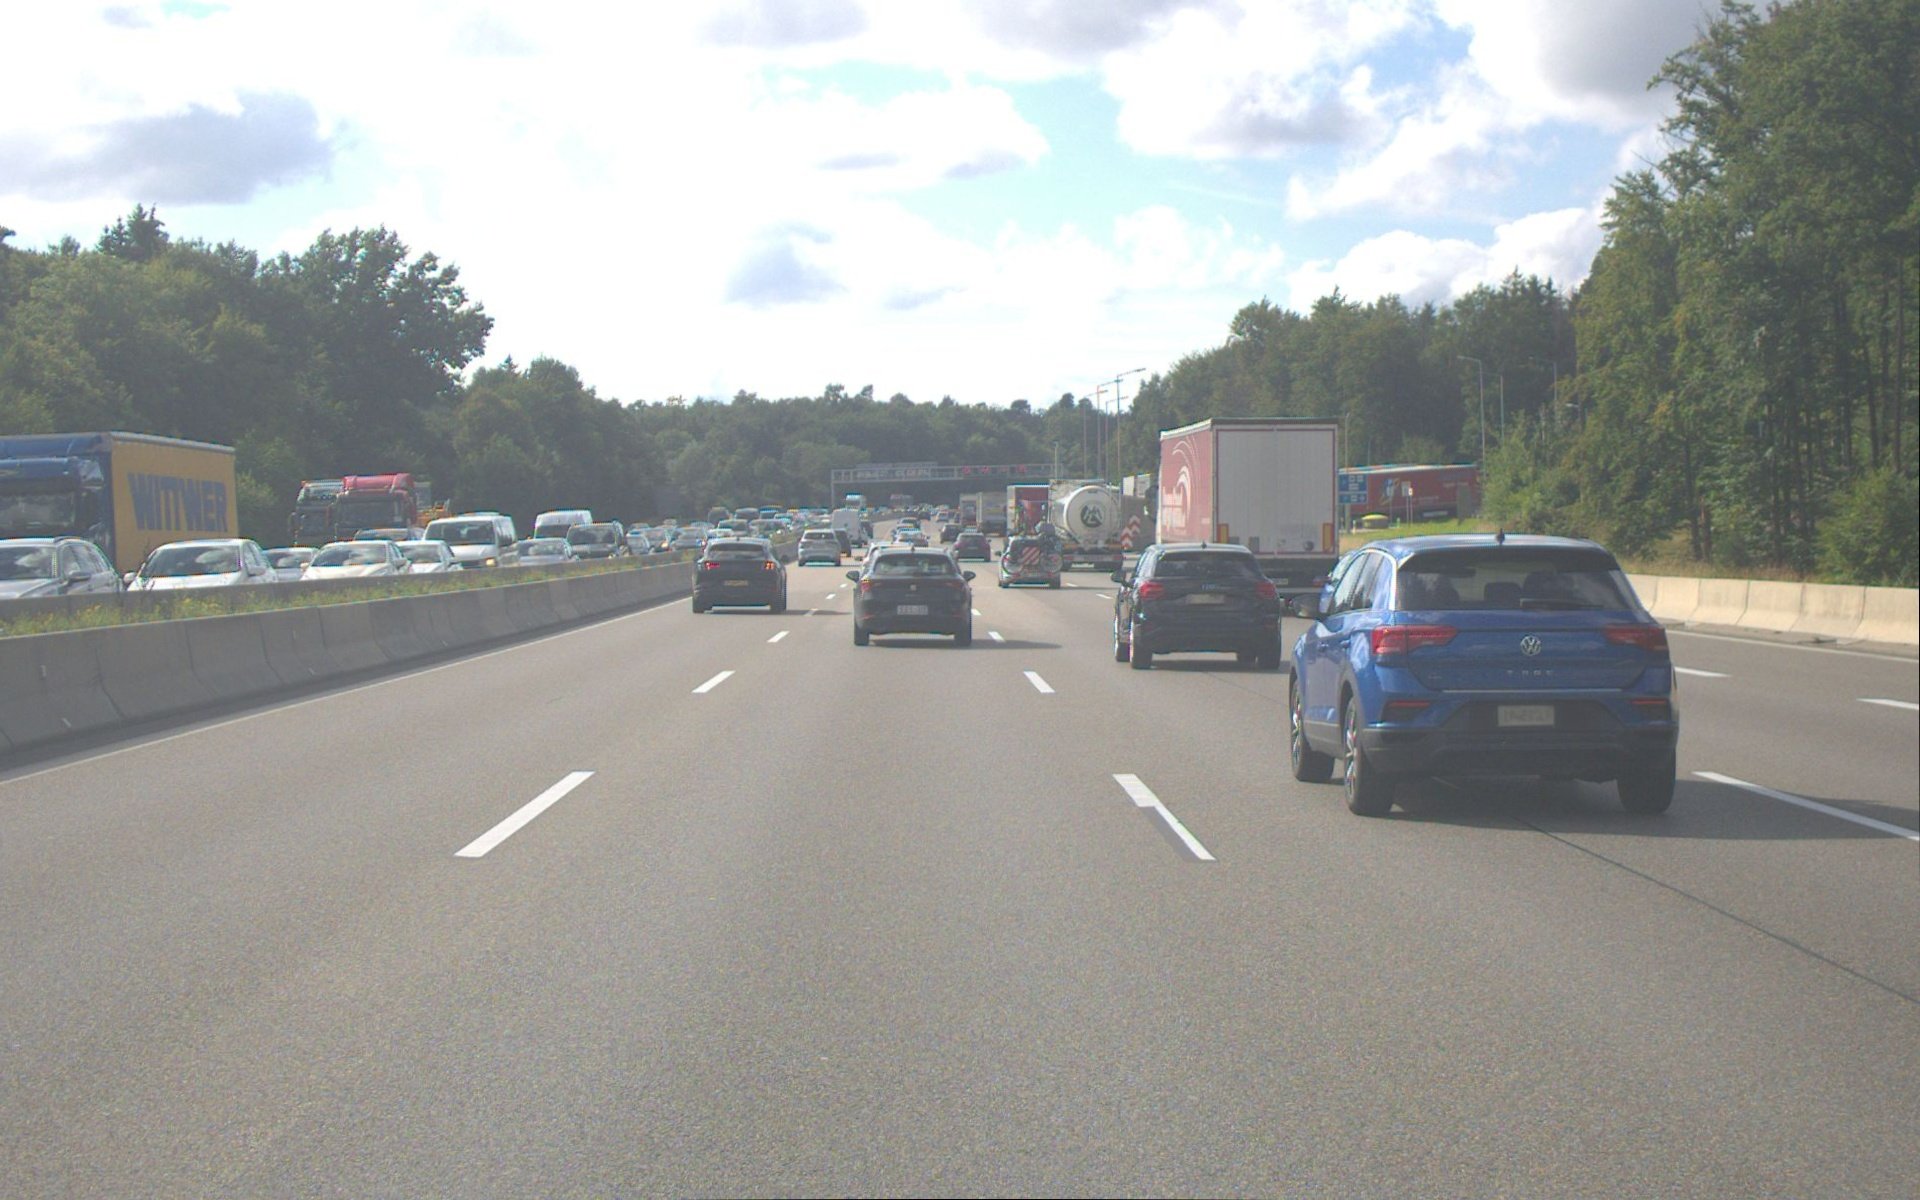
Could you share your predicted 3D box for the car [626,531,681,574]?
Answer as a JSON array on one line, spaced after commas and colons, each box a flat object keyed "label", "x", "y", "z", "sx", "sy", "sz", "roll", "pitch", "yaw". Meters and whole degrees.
[{"label": "car", "x": -11.788, "y": -1.850, "z": 132.276, "sx": 1.836, "sy": 1.585, "sz": 4.289, "roll": -1, "pitch": 1, "yaw": -2}]

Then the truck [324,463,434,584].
[{"label": "truck", "x": -19.601, "y": -2.591, "z": 116.347, "sx": 2.775, "sy": 3.925, "sz": 6.854, "roll": 1, "pitch": 1, "yaw": -2}]

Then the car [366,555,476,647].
[{"label": "car", "x": -11.051, "y": 0.019, "z": 70.718, "sx": 1.686, "sy": 1.810, "sz": 4.296, "roll": 1, "pitch": 0, "yaw": -2}]

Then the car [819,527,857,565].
[{"label": "car", "x": -6.684, "y": -2.964, "z": 188.653, "sx": 1.993, "sy": 2.007, "sz": 4.000, "roll": 1, "pitch": 1, "yaw": -1}]

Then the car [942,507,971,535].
[{"label": "car", "x": -0.283, "y": -5.743, "z": 251.364, "sx": 1.993, "sy": 2.007, "sz": 4.000, "roll": 1, "pitch": 1, "yaw": -1}]

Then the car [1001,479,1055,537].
[{"label": "car", "x": 3.676, "y": -4.999, "z": 187.666, "sx": 2.866, "sy": 2.981, "sz": 5.149, "roll": 1, "pitch": 0, "yaw": 0}]

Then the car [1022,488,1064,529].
[{"label": "car", "x": 4.263, "y": -4.730, "z": 177.640, "sx": 1.993, "sy": 2.007, "sz": 4.000, "roll": 1, "pitch": 0, "yaw": -1}]

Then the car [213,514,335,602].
[{"label": "car", "x": -14.474, "y": -0.914, "z": 72.778, "sx": 1.745, "sy": 1.760, "sz": 4.843, "roll": 1, "pitch": 1, "yaw": -2}]

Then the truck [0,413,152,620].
[{"label": "truck", "x": -18.835, "y": -1.665, "z": 71.725, "sx": 2.735, "sy": 4.134, "sz": 5.617, "roll": 1, "pitch": 0, "yaw": -2}]

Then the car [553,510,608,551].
[{"label": "car", "x": -15.737, "y": -2.853, "z": 142.718, "sx": 1.800, "sy": 1.626, "sz": 4.663, "roll": -1, "pitch": 1, "yaw": -1}]

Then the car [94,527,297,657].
[{"label": "car", "x": -10.890, "y": -0.153, "z": 49.280, "sx": 1.993, "sy": 1.737, "sz": 4.296, "roll": 2, "pitch": 1, "yaw": -1}]

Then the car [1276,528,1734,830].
[{"label": "car", "x": 3.069, "y": 0.365, "z": 20.323, "sx": 1.924, "sy": 1.536, "sz": 4.646, "roll": -1, "pitch": 1, "yaw": 0}]

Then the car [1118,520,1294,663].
[{"label": "car", "x": 2.952, "y": -0.118, "z": 41.957, "sx": 1.799, "sy": 1.639, "sz": 4.000, "roll": 1, "pitch": 1, "yaw": 0}]

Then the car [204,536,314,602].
[{"label": "car", "x": -15.353, "y": -0.665, "z": 75.476, "sx": 1.733, "sy": 1.396, "sz": 3.836, "roll": 1, "pitch": 0, "yaw": -2}]

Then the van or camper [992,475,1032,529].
[{"label": "van or camper", "x": 3.179, "y": -6.030, "z": 211.598, "sx": 2.351, "sy": 3.133, "sz": 5.710, "roll": 1, "pitch": 0, "yaw": 0}]

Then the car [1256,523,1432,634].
[{"label": "car", "x": 5.452, "y": -0.321, "z": 49.321, "sx": 1.715, "sy": 1.506, "sz": 4.303, "roll": -1, "pitch": 1, "yaw": -4}]

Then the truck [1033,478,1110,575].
[{"label": "truck", "x": 4.821, "y": -3.163, "z": 150.005, "sx": 3.045, "sy": 4.146, "sz": 7.127, "roll": 0, "pitch": 1, "yaw": -1}]

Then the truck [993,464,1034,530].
[{"label": "truck", "x": 3.149, "y": -6.065, "z": 204.769, "sx": 2.358, "sy": 3.560, "sz": 11.266, "roll": 1, "pitch": 0, "yaw": 0}]

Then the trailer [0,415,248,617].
[{"label": "trailer", "x": -19.004, "y": -1.750, "z": 79.069, "sx": 2.771, "sy": 4.220, "sz": 13.661, "roll": 1, "pitch": 0, "yaw": -2}]

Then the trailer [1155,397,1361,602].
[{"label": "trailer", "x": 6.299, "y": -1.996, "z": 75.147, "sx": 3.038, "sy": 4.021, "sz": 13.891, "roll": 1, "pitch": 0, "yaw": -1}]

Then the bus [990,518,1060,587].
[{"label": "bus", "x": 1.936, "y": -1.420, "z": 103.690, "sx": 1.993, "sy": 2.007, "sz": 4.000, "roll": 1, "pitch": 0, "yaw": 0}]

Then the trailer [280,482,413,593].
[{"label": "trailer", "x": -24.024, "y": -2.518, "z": 135.417, "sx": 2.809, "sy": 4.105, "sz": 14.043, "roll": 1, "pitch": 2, "yaw": -1}]

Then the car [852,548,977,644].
[{"label": "car", "x": -0.718, "y": -0.082, "z": 51.432, "sx": 1.734, "sy": 1.360, "sz": 4.000, "roll": 1, "pitch": 1, "yaw": -2}]

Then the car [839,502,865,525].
[{"label": "car", "x": -7.193, "y": -5.745, "z": 229.207, "sx": 1.623, "sy": 1.465, "sz": 3.815, "roll": 1, "pitch": 1, "yaw": 0}]

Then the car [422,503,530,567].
[{"label": "car", "x": -11.032, "y": -1.468, "z": 78.746, "sx": 1.849, "sy": 1.350, "sz": 5.489, "roll": 1, "pitch": 0, "yaw": -2}]

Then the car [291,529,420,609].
[{"label": "car", "x": -11.064, "y": -0.586, "z": 63.140, "sx": 1.757, "sy": 1.372, "sz": 4.000, "roll": 1, "pitch": 1, "yaw": -2}]

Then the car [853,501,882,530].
[{"label": "car", "x": -6.572, "y": -6.010, "z": 245.772, "sx": 1.993, "sy": 2.007, "sz": 4.000, "roll": 1, "pitch": 1, "yaw": -1}]

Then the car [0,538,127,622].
[{"label": "car", "x": -10.820, "y": -0.260, "z": 39.115, "sx": 1.635, "sy": 0.855, "sz": 4.606, "roll": 2, "pitch": 1, "yaw": -1}]

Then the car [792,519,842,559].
[{"label": "car", "x": -6.512, "y": -2.777, "z": 156.802, "sx": 2.154, "sy": 1.770, "sz": 4.000, "roll": 1, "pitch": 1, "yaw": 0}]

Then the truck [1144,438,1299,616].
[{"label": "truck", "x": 6.164, "y": -1.668, "z": 81.907, "sx": 3.080, "sy": 4.049, "sz": 6.070, "roll": 1, "pitch": 0, "yaw": -1}]

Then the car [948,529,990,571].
[{"label": "car", "x": 0.417, "y": -2.476, "z": 171.039, "sx": 1.993, "sy": 2.007, "sz": 4.000, "roll": 1, "pitch": 1, "yaw": -1}]

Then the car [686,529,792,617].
[{"label": "car", "x": -4.661, "y": -0.598, "z": 73.015, "sx": 1.993, "sy": 1.770, "sz": 4.000, "roll": 1, "pitch": 1, "yaw": 0}]

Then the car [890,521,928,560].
[{"label": "car", "x": -2.768, "y": -3.248, "z": 187.155, "sx": 1.993, "sy": 2.007, "sz": 4.000, "roll": -1, "pitch": 0, "yaw": -1}]

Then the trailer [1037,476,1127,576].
[{"label": "trailer", "x": 4.990, "y": -3.000, "z": 142.891, "sx": 3.036, "sy": 4.002, "sz": 12.246, "roll": 0, "pitch": 0, "yaw": -1}]
